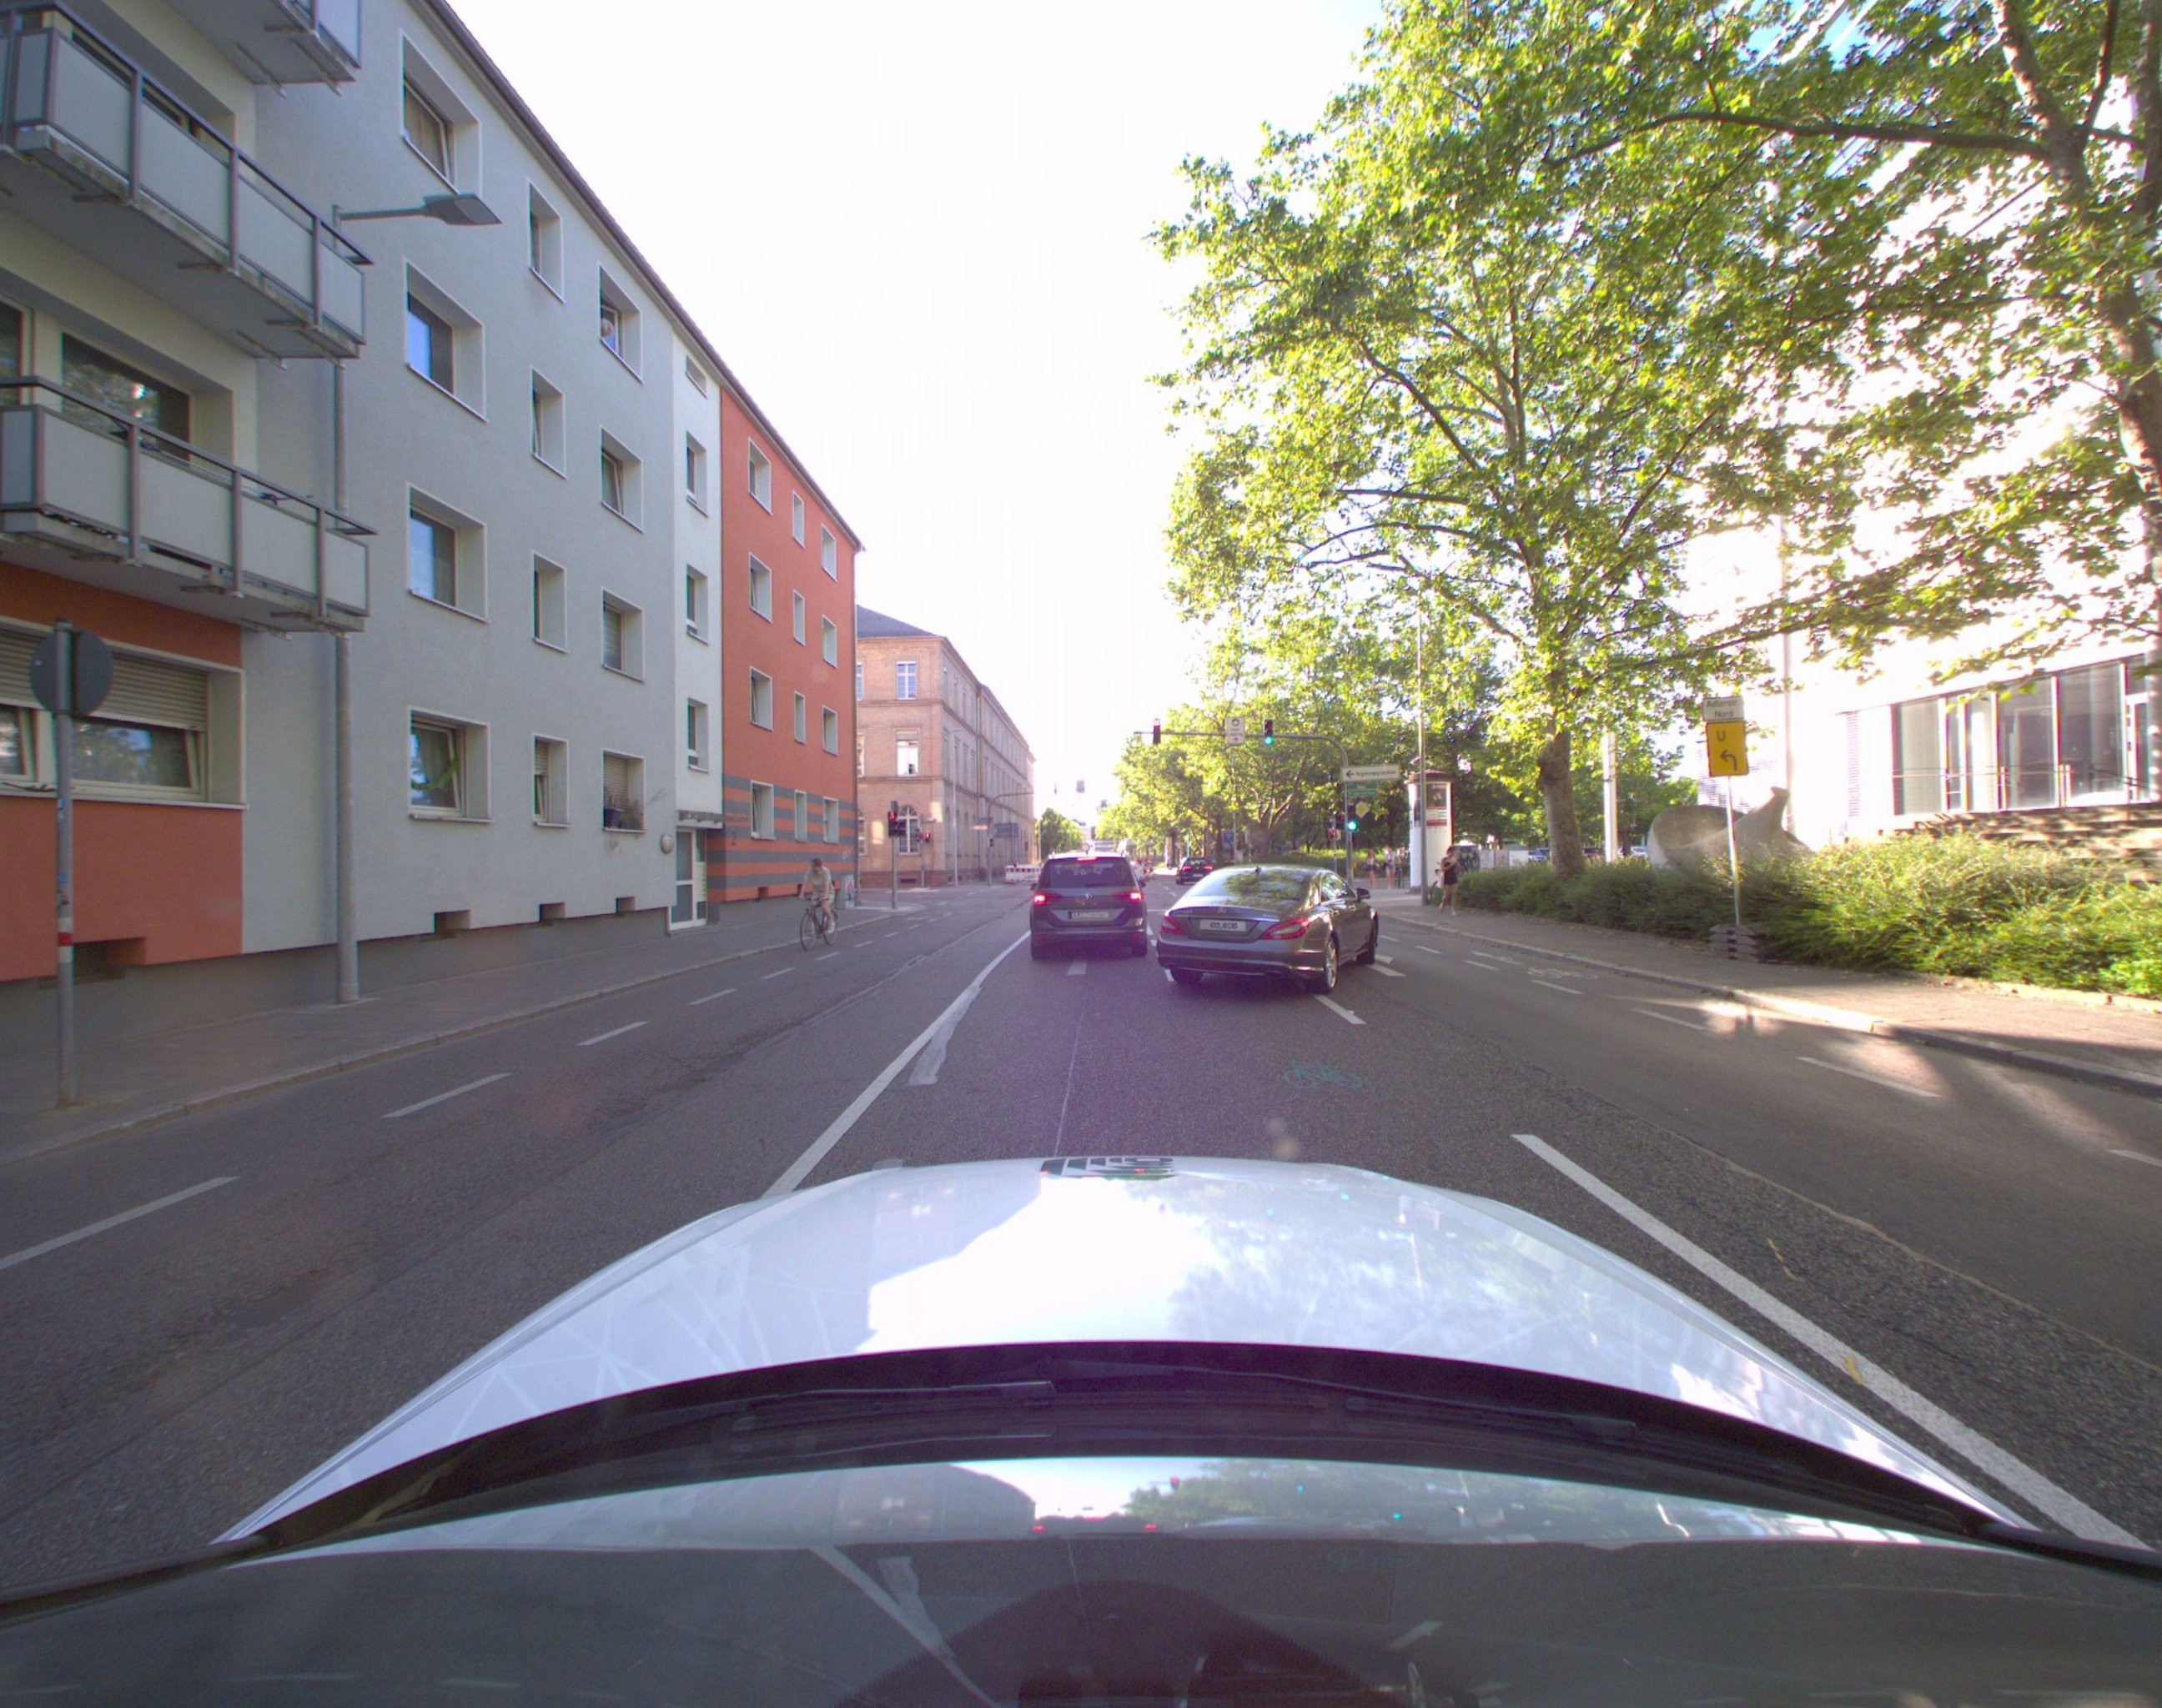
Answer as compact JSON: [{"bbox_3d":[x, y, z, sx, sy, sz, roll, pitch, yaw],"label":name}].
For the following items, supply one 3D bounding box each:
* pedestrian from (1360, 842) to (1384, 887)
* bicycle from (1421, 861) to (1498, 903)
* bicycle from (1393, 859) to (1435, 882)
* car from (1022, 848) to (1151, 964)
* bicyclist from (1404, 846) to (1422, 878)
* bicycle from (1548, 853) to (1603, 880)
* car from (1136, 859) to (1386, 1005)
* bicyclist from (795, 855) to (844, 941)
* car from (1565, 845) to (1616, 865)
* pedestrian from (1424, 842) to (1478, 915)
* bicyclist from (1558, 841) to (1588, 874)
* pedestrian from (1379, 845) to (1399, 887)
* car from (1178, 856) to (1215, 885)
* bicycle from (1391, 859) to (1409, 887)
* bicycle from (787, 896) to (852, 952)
[{"bbox_3d":[12.007,0.449,33.600,0.728,1.808,0.911,-2,-2,9],"label":"pedestrian"},{"bbox_3d":[10.798,0.796,23.259,1.969,1.190,0.528,0,-1,0],"label":"bicycle"},{"bbox_3d":[17.912,0.892,43.802,2.023,1.220,0.599,0,-1,1],"label":"bicycle"},{"bbox_3d":[0.199,0.757,13.617,1.801,1.612,4.003,-1,-1,3],"label":"car"},{"bbox_3d":[17.850,0.446,43.809,0.707,1.697,0.676,0,-1,1],"label":"bicyclist"},{"bbox_3d":[24.799,0.626,40.863,2.279,1.326,0.660,0,-1,2],"label":"bicycle"},{"bbox_3d":[2.532,0.787,10.422,1.825,1.429,4.545,-1,-1,30],"label":"car"},{"bbox_3d":[-4.901,0.809,15.293,0.646,1.558,0.807,0,-1,1],"label":"bicyclist"},{"bbox_3d":[39.733,0.116,63.585,1.624,1.483,3.796,0,-1,1],"label":"car"},{"bbox_3d":[8.716,0.575,19.222,0.795,1.630,0.908,-3,-1,3],"label":"pedestrian"},{"bbox_3d":[24.692,0.189,40.895,0.960,1.615,0.871,0,-1,4],"label":"bicyclist"},{"bbox_3d":[12.660,0.487,33.441,0.678,1.697,0.975,-1,-1,16],"label":"pedestrian"},{"bbox_3d":[6.002,0.865,42.710,1.682,1.440,3.906,0,-1,4],"label":"car"},{"bbox_3d":[13.075,0.770,33.407,0.520,1.100,1.749,-1,-1,16],"label":"bicycle"},{"bbox_3d":[-4.867,1.278,15.275,0.546,0.891,1.868,0,-1,2],"label":"bicycle"}]
